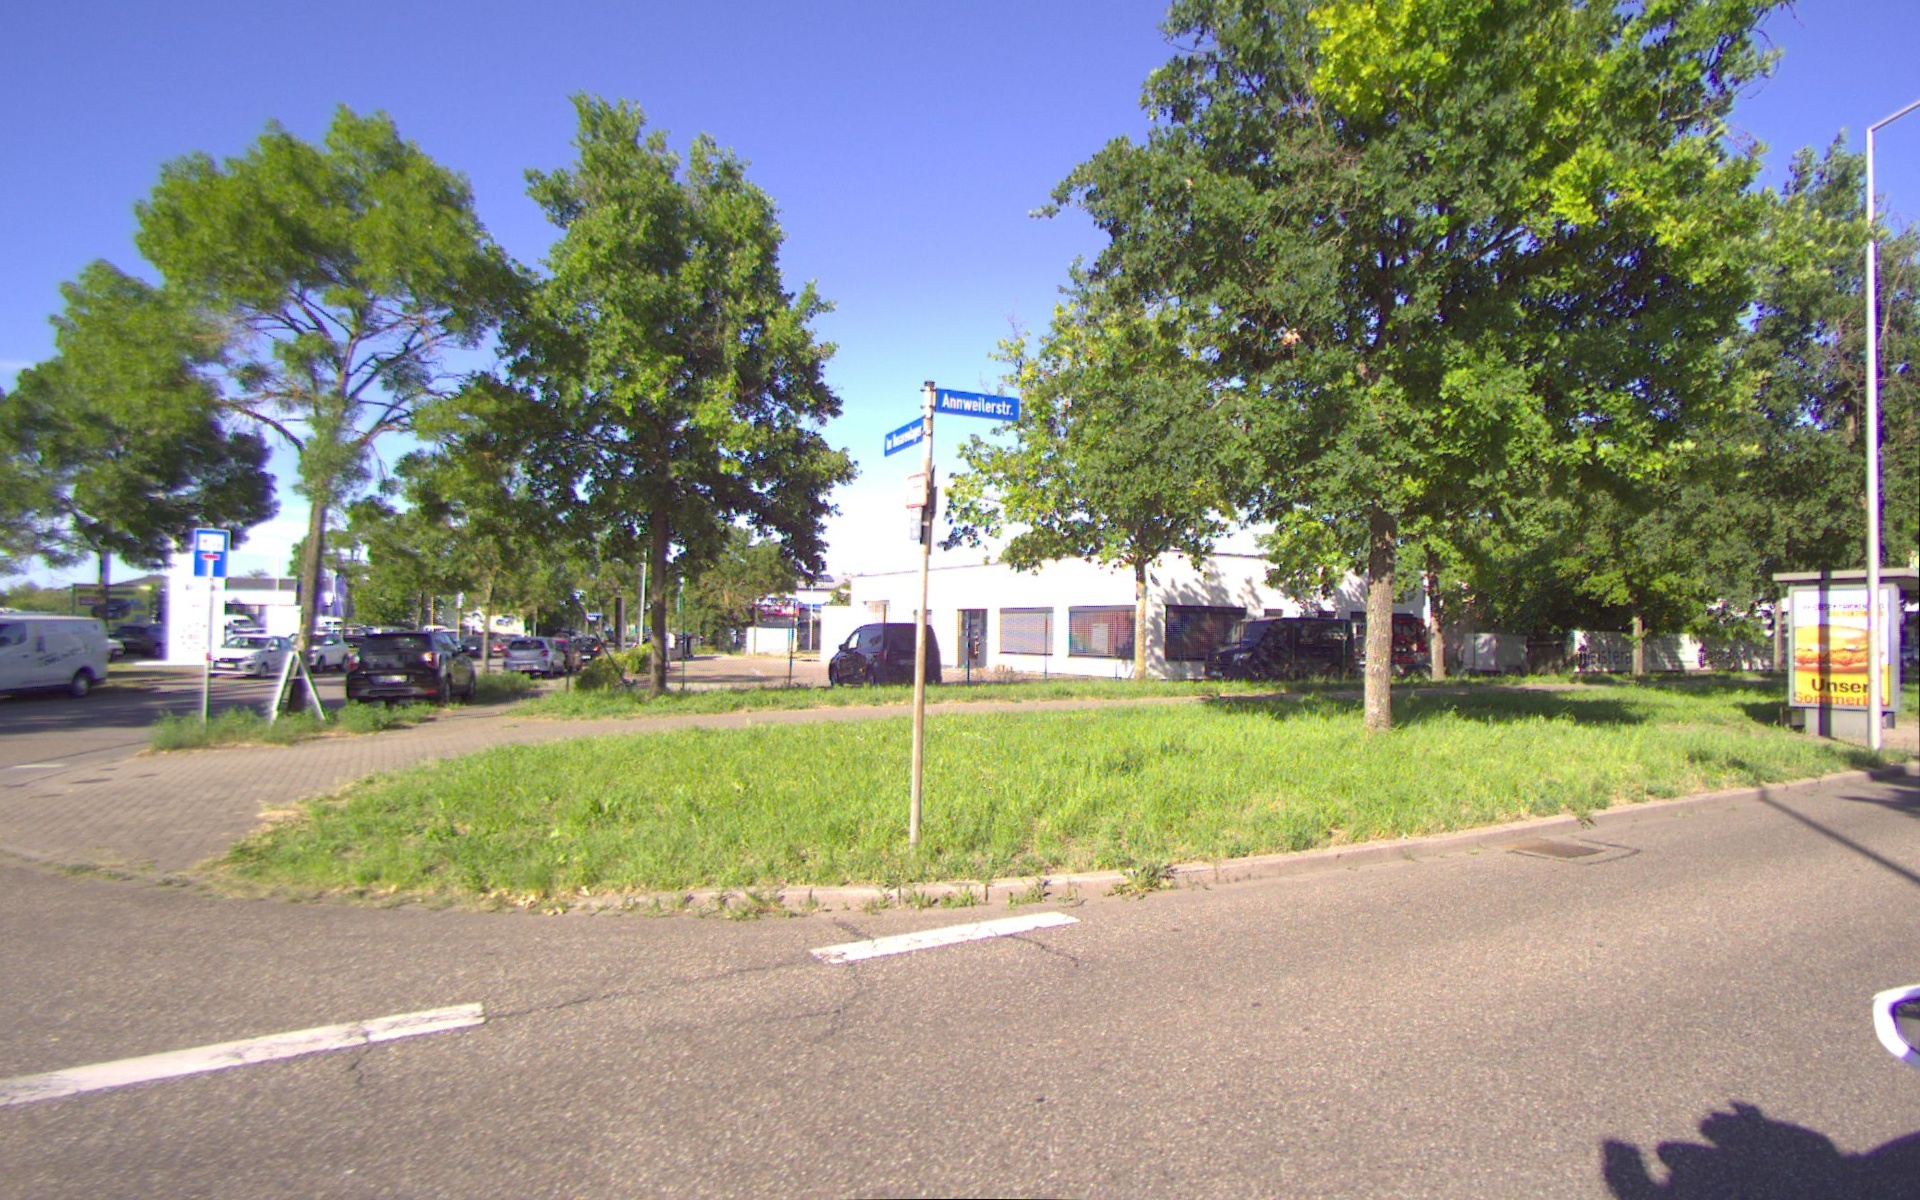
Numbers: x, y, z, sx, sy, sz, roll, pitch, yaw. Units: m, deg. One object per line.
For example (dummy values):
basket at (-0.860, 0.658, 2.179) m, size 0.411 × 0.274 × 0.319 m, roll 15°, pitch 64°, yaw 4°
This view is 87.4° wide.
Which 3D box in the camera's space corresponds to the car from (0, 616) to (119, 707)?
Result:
car at (-21.477, 1.329, 22.430) m, size 1.907 × 1.931 × 5.016 m, roll 1°, pitch -2°, yaw -12°

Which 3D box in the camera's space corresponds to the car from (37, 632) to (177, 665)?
car at (-42.109, 2.401, 49.719) m, size 4.794 × 1.582 × 1.993 m, roll 1°, pitch -2°, yaw -18°

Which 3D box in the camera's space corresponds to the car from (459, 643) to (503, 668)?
car at (-33.119, 3.828, 69.537) m, size 1.769 × 1.531 × 3.992 m, roll 0°, pitch -1°, yaw -11°

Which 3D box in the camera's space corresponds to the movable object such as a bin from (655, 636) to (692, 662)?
movable object such as a bin at (-14.927, 2.556, 52.405) m, size 1.617 × 1.288 × 1.676 m, roll 1°, pitch -2°, yaw -10°

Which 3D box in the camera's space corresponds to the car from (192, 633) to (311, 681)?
car at (-24.652, 1.936, 35.127) m, size 1.768 × 1.531 × 3.994 m, roll 0°, pitch -1°, yaw -8°

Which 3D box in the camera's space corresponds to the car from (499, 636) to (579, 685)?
car at (-15.415, 2.171, 36.944) m, size 1.768 × 1.597 × 3.994 m, roll 0°, pitch -1°, yaw -8°

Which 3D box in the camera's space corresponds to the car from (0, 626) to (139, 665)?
car at (-37.480, 1.880, 41.689) m, size 4.794 × 1.582 × 1.993 m, roll 1°, pitch -2°, yaw -18°

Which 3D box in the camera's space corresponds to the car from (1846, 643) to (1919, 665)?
car at (59.319, 3.436, 63.845) m, size 1.920 × 1.305 × 4.175 m, roll 2°, pitch -2°, yaw -32°

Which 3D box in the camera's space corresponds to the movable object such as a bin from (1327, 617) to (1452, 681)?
movable object such as a bin at (15.961, 1.790, 37.298) m, size 4.408 × 2.246 × 2.093 m, roll 1°, pitch -2°, yaw -30°

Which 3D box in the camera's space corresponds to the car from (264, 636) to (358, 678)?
car at (-25.822, 2.226, 40.127) m, size 1.769 × 1.531 × 3.992 m, roll 0°, pitch -1°, yaw -11°

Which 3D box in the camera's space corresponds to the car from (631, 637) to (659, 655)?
car at (-28.258, 4.079, 90.103) m, size 1.768 × 1.531 × 3.995 m, roll 1°, pitch -2°, yaw -8°

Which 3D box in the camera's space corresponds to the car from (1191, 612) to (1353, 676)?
car at (10.668, 1.506, 34.149) m, size 5.741 × 2.014 × 2.025 m, roll 2°, pitch -2°, yaw -32°

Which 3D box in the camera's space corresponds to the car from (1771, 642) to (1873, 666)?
car at (50.231, 3.145, 58.627) m, size 1.920 × 1.305 × 4.175 m, roll 2°, pitch -2°, yaw -32°

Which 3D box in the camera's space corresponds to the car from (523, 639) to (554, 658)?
car at (-37.896, 4.333, 90.454) m, size 1.769 × 1.531 × 3.992 m, roll 0°, pitch -1°, yaw -11°

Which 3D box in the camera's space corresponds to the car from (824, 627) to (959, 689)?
car at (-1.907, 1.473, 26.477) m, size 1.917 × 1.499 × 4.483 m, roll 2°, pitch -2°, yaw -28°

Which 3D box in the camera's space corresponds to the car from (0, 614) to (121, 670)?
car at (-27.906, 1.253, 30.552) m, size 1.969 × 1.582 × 4.852 m, roll 1°, pitch -2°, yaw -19°

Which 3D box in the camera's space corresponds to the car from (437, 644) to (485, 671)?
car at (-32.360, 3.709, 65.254) m, size 1.769 × 1.531 × 3.992 m, roll 0°, pitch -1°, yaw -11°

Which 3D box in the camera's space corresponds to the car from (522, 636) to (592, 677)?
car at (-16.456, 2.281, 41.213) m, size 1.768 × 1.531 × 3.994 m, roll 0°, pitch -1°, yaw -8°

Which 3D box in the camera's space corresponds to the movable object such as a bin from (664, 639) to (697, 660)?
movable object such as a bin at (-15.557, 2.760, 55.950) m, size 1.617 × 1.159 × 1.688 m, roll 1°, pitch -2°, yaw -10°

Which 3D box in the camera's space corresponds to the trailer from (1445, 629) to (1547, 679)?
trailer at (21.920, 2.193, 41.072) m, size 3.696 × 1.940 × 2.093 m, roll 1°, pitch -2°, yaw -30°

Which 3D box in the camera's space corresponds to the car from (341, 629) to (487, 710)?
car at (-11.385, 1.408, 21.211) m, size 1.791 × 1.553 × 3.672 m, roll 1°, pitch -2°, yaw -14°

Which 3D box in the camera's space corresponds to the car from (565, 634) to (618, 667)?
car at (-19.096, 2.590, 52.183) m, size 1.768 × 1.531 × 3.994 m, roll 0°, pitch -1°, yaw -8°
